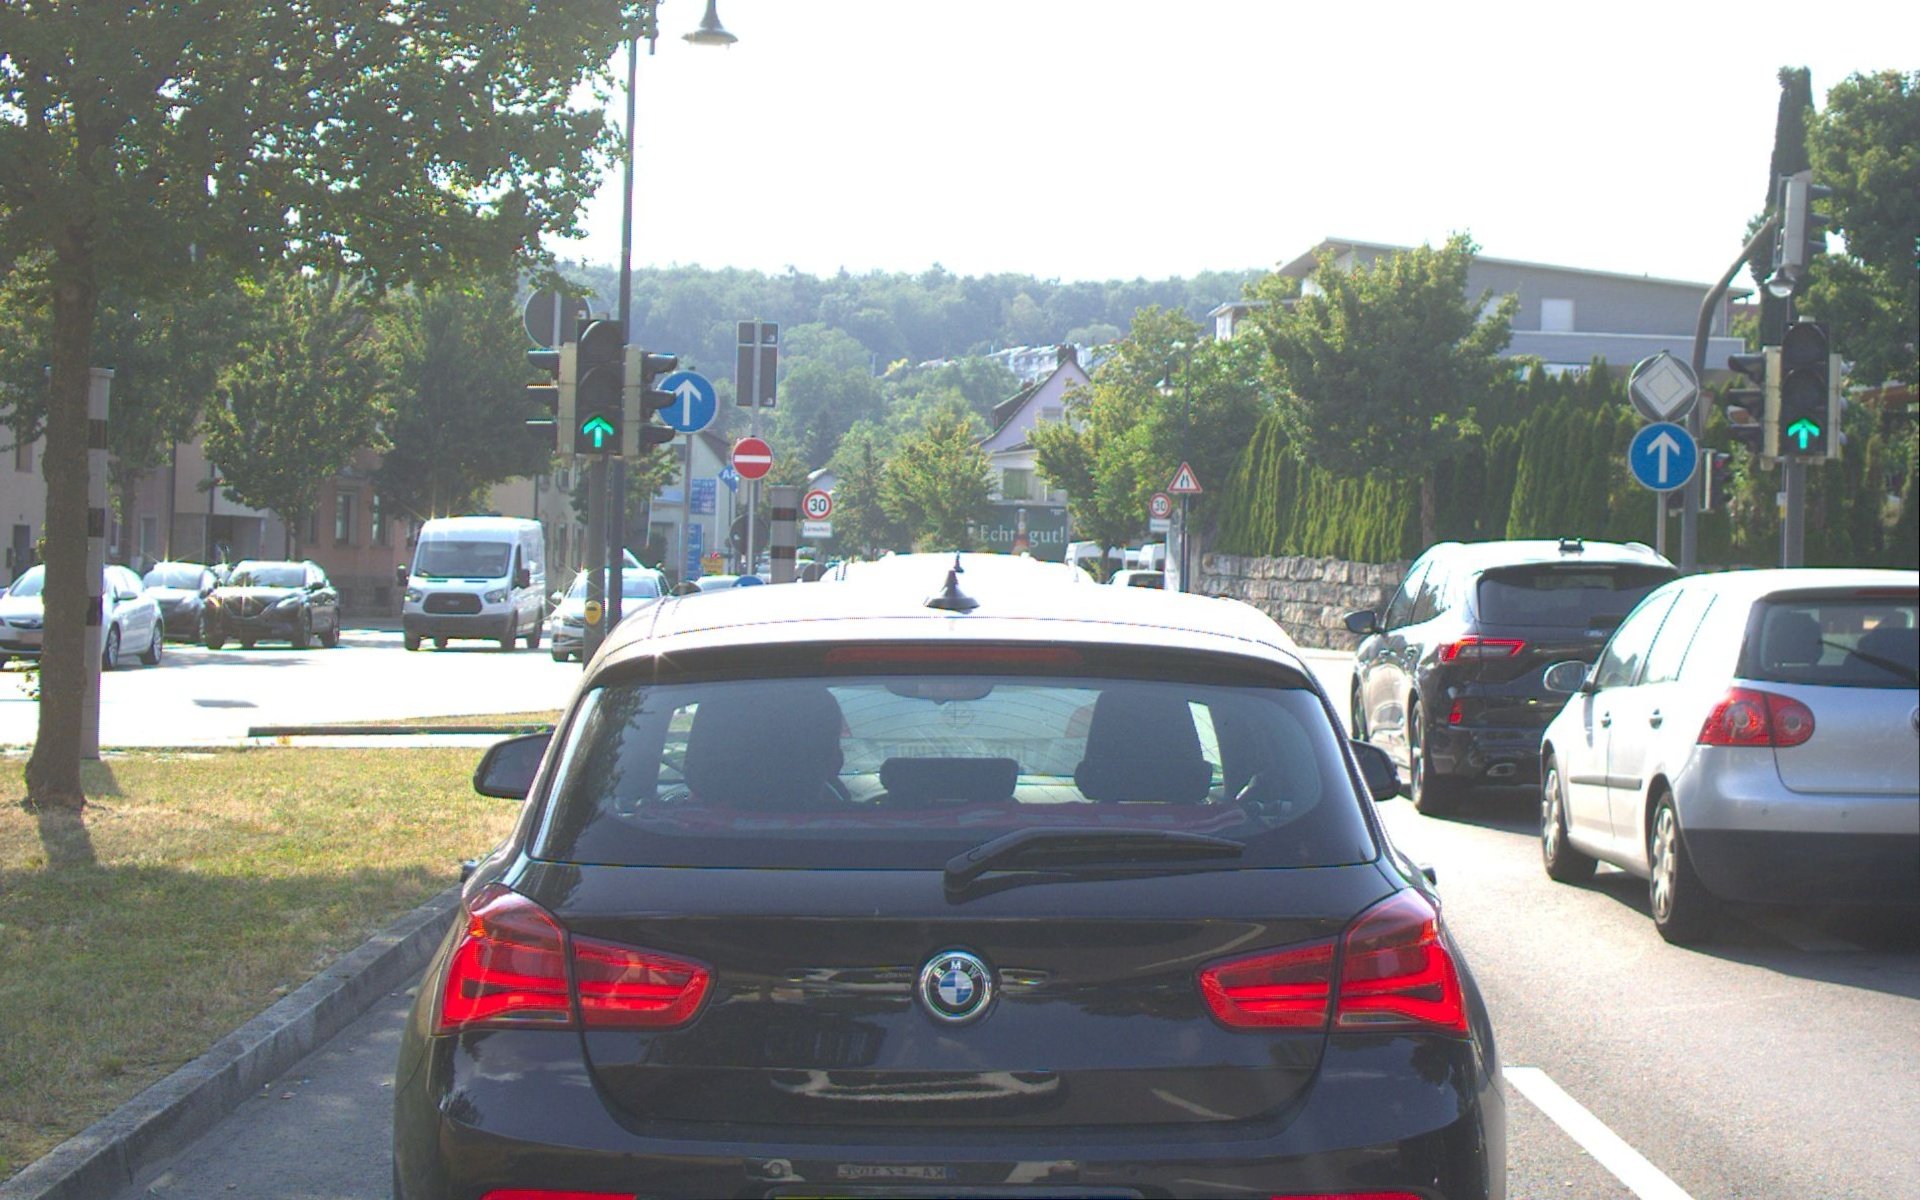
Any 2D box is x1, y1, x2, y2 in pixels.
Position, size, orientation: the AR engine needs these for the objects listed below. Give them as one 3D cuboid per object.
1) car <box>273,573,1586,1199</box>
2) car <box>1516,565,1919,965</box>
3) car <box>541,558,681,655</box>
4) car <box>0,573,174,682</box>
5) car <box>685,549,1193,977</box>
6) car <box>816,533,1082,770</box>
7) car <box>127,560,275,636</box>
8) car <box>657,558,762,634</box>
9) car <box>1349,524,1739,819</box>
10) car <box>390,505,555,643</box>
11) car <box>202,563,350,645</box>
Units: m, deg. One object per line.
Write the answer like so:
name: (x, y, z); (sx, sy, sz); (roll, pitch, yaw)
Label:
car: (-0.035, 0.674, 6.851); (1.788, 1.393, 4.281); (-1, 1, 0)
car: (3.560, 0.586, 14.569); (1.761, 1.421, 3.903); (-1, 1, 0)
car: (-5.591, 0.076, 55.506); (1.839, 1.477, 4.000); (1, 1, 0)
car: (-12.475, 0.358, 48.321); (1.737, 1.296, 3.799); (5, 1, 2)
car: (-0.070, 0.549, 14.365); (1.788, 1.488, 4.281); (-1, 1, 0)
car: (-0.071, 0.314, 25.568); (1.788, 1.588, 4.281); (-1, 1, 0)
car: (-14.903, -0.065, 67.703); (1.737, 1.296, 4.000); (5, 1, 3)
car: (-5.091, -0.096, 70.354); (1.839, 1.477, 4.000); (1, 1, 0)
car: (3.533, 0.371, 21.448); (1.761, 1.650, 3.903); (-1, 1, 0)
car: (-8.960, -0.487, 63.612); (2.084, 2.385, 5.528); (1, 1, 2)
car: (-12.580, 0.047, 63.426); (1.737, 1.296, 3.799); (5, 1, 2)
